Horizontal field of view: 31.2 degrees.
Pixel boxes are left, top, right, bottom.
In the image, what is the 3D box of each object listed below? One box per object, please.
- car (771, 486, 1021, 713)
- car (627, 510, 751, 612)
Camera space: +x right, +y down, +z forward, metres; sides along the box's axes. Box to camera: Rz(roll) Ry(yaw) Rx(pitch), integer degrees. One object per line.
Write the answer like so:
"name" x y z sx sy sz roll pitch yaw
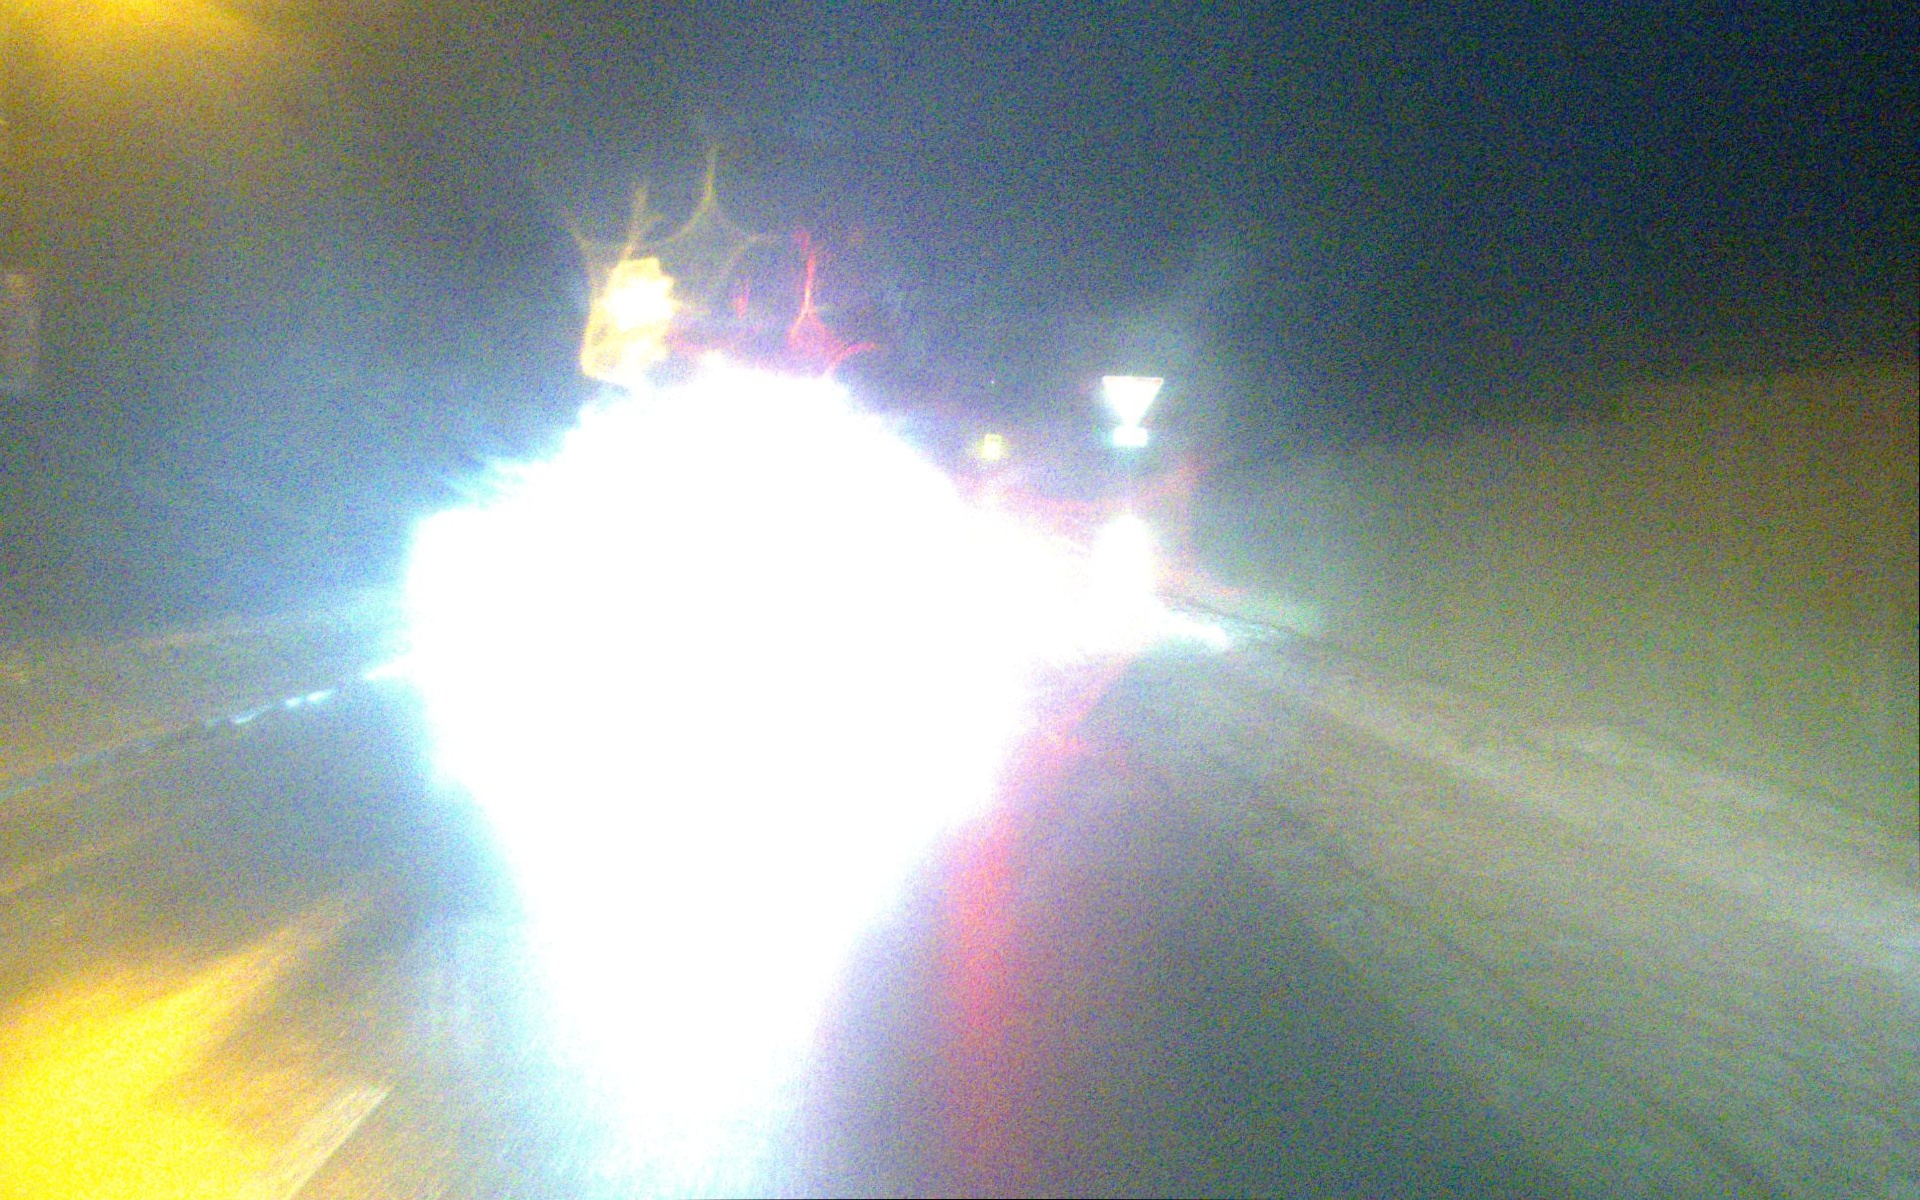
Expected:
"car" -0.499 -0.016 27.604 1.801 1.623 3.615 3 0 -1
"car" -4.216 -0.621 53.940 1.731 1.513 4.016 1 1 -2
